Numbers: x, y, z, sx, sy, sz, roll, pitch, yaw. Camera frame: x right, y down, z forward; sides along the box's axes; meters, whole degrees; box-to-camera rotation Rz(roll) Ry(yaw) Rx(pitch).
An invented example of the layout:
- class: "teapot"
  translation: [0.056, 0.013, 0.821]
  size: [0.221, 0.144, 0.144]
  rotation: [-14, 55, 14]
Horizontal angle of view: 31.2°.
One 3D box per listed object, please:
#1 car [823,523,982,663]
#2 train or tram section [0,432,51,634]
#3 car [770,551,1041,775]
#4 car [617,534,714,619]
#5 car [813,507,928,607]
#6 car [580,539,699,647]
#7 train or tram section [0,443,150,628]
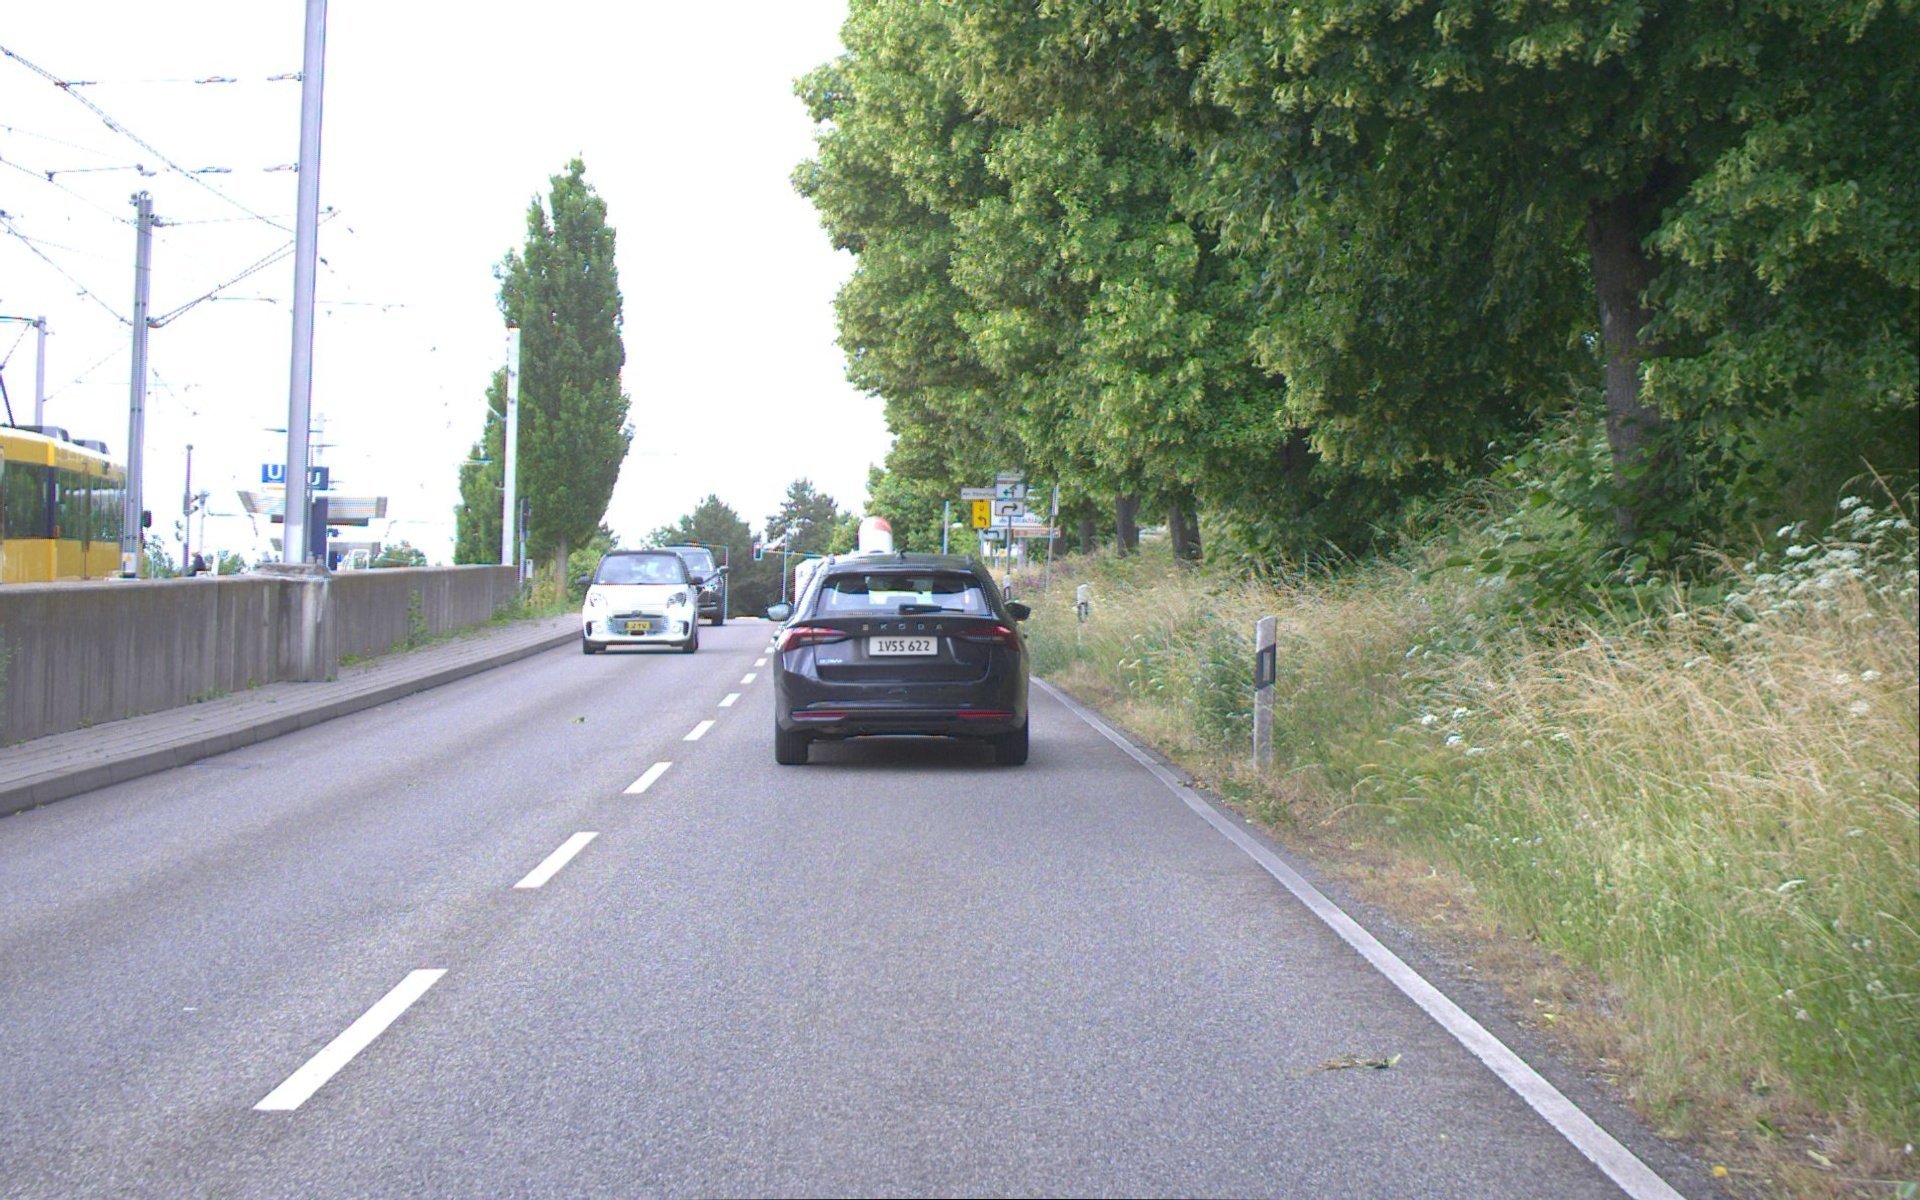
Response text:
- class: "car"
  translation: [-0.761, -0.119, 45.251]
  size: [1.993, 1.747, 4.000]
  rotation: [0, 1, -1]
- class: "train or tram section"
  translation: [-15.154, -0.972, 46.600]
  size: [2.800, 3.015, 19.312]
  rotation: [0, 0, -7]
- class: "car"
  translation: [-0.389, 0.385, 24.739]
  size: [1.781, 1.463, 4.000]
  rotation: [0, 1, -1]
- class: "car"
  translation: [-6.308, -0.532, 74.033]
  size: [1.910, 1.762, 4.307]
  rotation: [0, 1, -3]
- class: "car"
  translation: [-1.581, -0.758, 61.442]
  size: [1.993, 1.734, 4.000]
  rotation: [0, 0, -1]
- class: "car"
  translation: [-4.883, -0.136, 52.778]
  size: [1.731, 1.566, 4.001]
  rotation: [-1, 1, -4]
- class: "train or tram section"
  translation: [-17.620, -1.096, 65.343]
  size: [2.795, 3.012, 18.885]
  rotation: [0, 0, -9]
